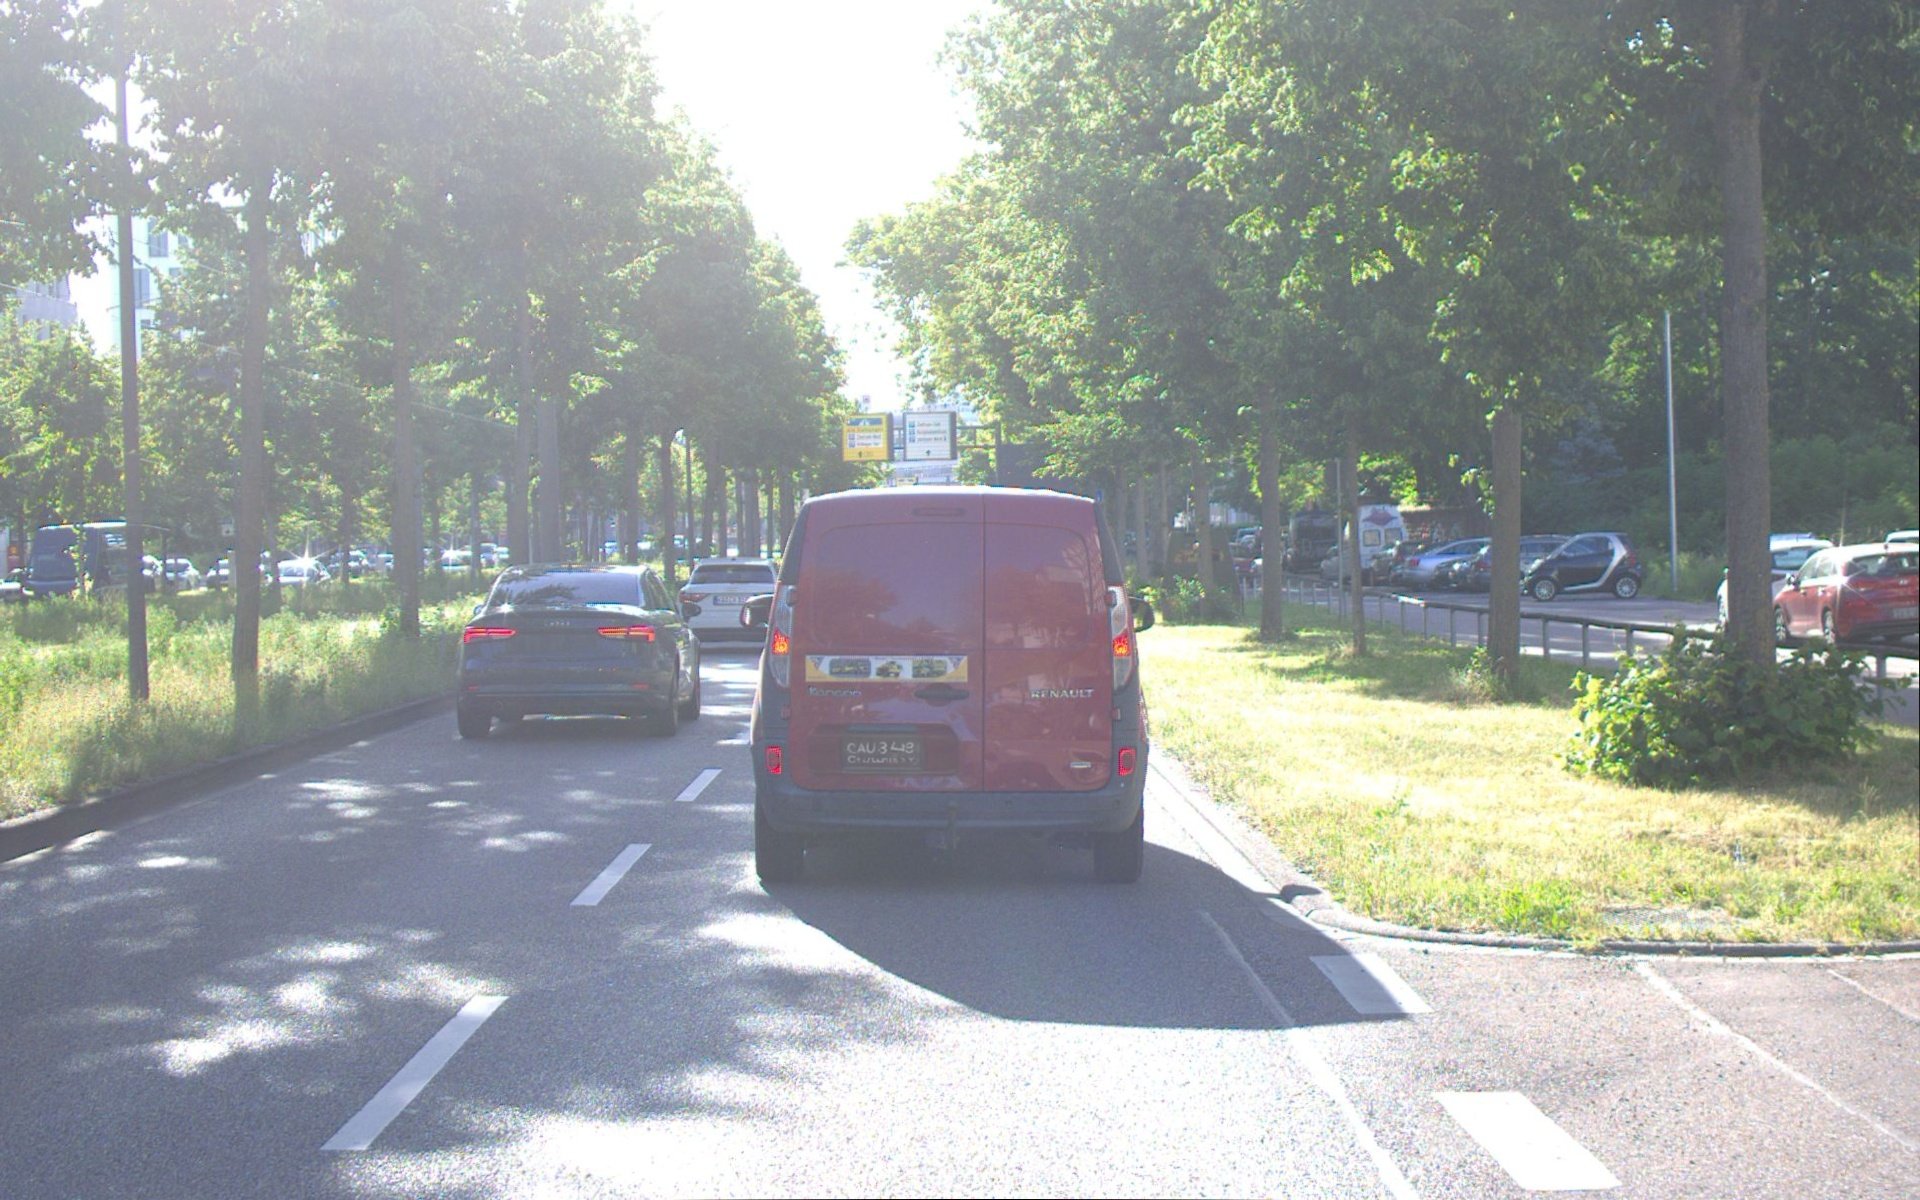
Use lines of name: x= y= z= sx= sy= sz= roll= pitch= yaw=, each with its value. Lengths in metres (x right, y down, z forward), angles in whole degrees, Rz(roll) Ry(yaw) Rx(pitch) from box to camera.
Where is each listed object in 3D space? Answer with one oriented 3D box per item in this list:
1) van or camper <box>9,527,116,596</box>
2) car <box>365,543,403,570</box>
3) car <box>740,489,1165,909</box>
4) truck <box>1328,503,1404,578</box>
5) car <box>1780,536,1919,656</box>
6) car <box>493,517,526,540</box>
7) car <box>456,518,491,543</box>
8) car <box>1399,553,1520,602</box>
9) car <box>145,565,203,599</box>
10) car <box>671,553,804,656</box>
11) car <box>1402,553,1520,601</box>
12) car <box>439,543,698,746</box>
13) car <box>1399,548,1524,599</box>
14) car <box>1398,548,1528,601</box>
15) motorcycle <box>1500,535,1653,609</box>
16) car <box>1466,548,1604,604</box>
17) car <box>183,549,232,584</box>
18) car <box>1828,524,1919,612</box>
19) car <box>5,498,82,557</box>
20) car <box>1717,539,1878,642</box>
van or camper: x=-23.372 y=-1.011 z=89.628 sx=1.820 sy=1.732 sz=3.712 roll=-1 pitch=1 yaw=-1
car: x=-33.551 y=-2.557 z=200.295 sx=1.602 sy=1.551 sz=4.000 roll=-1 pitch=1 yaw=-1
car: x=-0.080 y=0.376 z=16.755 sx=1.808 sy=1.788 sz=4.113 roll=0 pitch=1 yaw=-1
truck: x=14.068 y=-2.050 z=119.307 sx=1.831 sy=2.492 sz=5.933 roll=-1 pitch=1 yaw=-1
car: x=12.914 y=-0.089 z=48.609 sx=1.758 sy=1.606 sz=3.903 roll=-1 pitch=1 yaw=1
car: x=-31.502 y=-5.001 z=240.471 sx=1.755 sy=1.568 sz=4.000 roll=-1 pitch=1 yaw=-1
car: x=-31.206 y=-4.442 z=220.612 sx=1.755 sy=1.568 sz=4.000 roll=-1 pitch=1 yaw=-1
car: x=14.397 y=-0.659 z=99.183 sx=3.399 sy=1.354 sz=1.470 roll=-1 pitch=1 yaw=7
car: x=-32.424 y=-0.759 z=141.945 sx=1.580 sy=1.337 sz=3.712 roll=-1 pitch=1 yaw=-1
car: x=-3.321 y=0.042 z=51.897 sx=1.808 sy=1.430 sz=4.113 roll=-1 pitch=1 yaw=-1
car: x=14.777 y=-0.680 z=101.523 sx=3.399 sy=1.354 sz=1.470 roll=-1 pitch=1 yaw=7
car: x=-3.187 y=0.311 z=28.669 sx=1.808 sy=1.522 sz=4.113 roll=-1 pitch=1 yaw=-2
car: x=14.052 y=-0.739 z=96.450 sx=3.399 sy=1.354 sz=1.470 roll=-1 pitch=1 yaw=7
car: x=13.539 y=-0.681 z=92.639 sx=3.399 sy=1.354 sz=1.470 roll=-1 pitch=1 yaw=7
motorcycle: x=14.347 y=-0.662 z=80.116 sx=3.399 sy=1.657 sz=1.470 roll=-1 pitch=1 yaw=7
car: x=14.666 y=-0.621 z=87.821 sx=3.399 sy=1.354 sz=1.470 roll=-1 pitch=1 yaw=7
car: x=-39.286 y=-1.782 z=179.581 sx=1.732 sy=1.766 sz=4.000 roll=-1 pitch=1 yaw=-1
car: x=19.787 y=-0.685 z=72.524 sx=1.993 sy=1.809 sz=4.000 roll=0 pitch=1 yaw=1
car: x=-31.863 y=-2.532 z=119.655 sx=1.728 sy=2.007 sz=4.001 roll=-1 pitch=1 yaw=-2
car: x=12.999 y=-0.171 z=53.547 sx=1.819 sy=1.527 sz=3.437 roll=-1 pitch=1 yaw=3
